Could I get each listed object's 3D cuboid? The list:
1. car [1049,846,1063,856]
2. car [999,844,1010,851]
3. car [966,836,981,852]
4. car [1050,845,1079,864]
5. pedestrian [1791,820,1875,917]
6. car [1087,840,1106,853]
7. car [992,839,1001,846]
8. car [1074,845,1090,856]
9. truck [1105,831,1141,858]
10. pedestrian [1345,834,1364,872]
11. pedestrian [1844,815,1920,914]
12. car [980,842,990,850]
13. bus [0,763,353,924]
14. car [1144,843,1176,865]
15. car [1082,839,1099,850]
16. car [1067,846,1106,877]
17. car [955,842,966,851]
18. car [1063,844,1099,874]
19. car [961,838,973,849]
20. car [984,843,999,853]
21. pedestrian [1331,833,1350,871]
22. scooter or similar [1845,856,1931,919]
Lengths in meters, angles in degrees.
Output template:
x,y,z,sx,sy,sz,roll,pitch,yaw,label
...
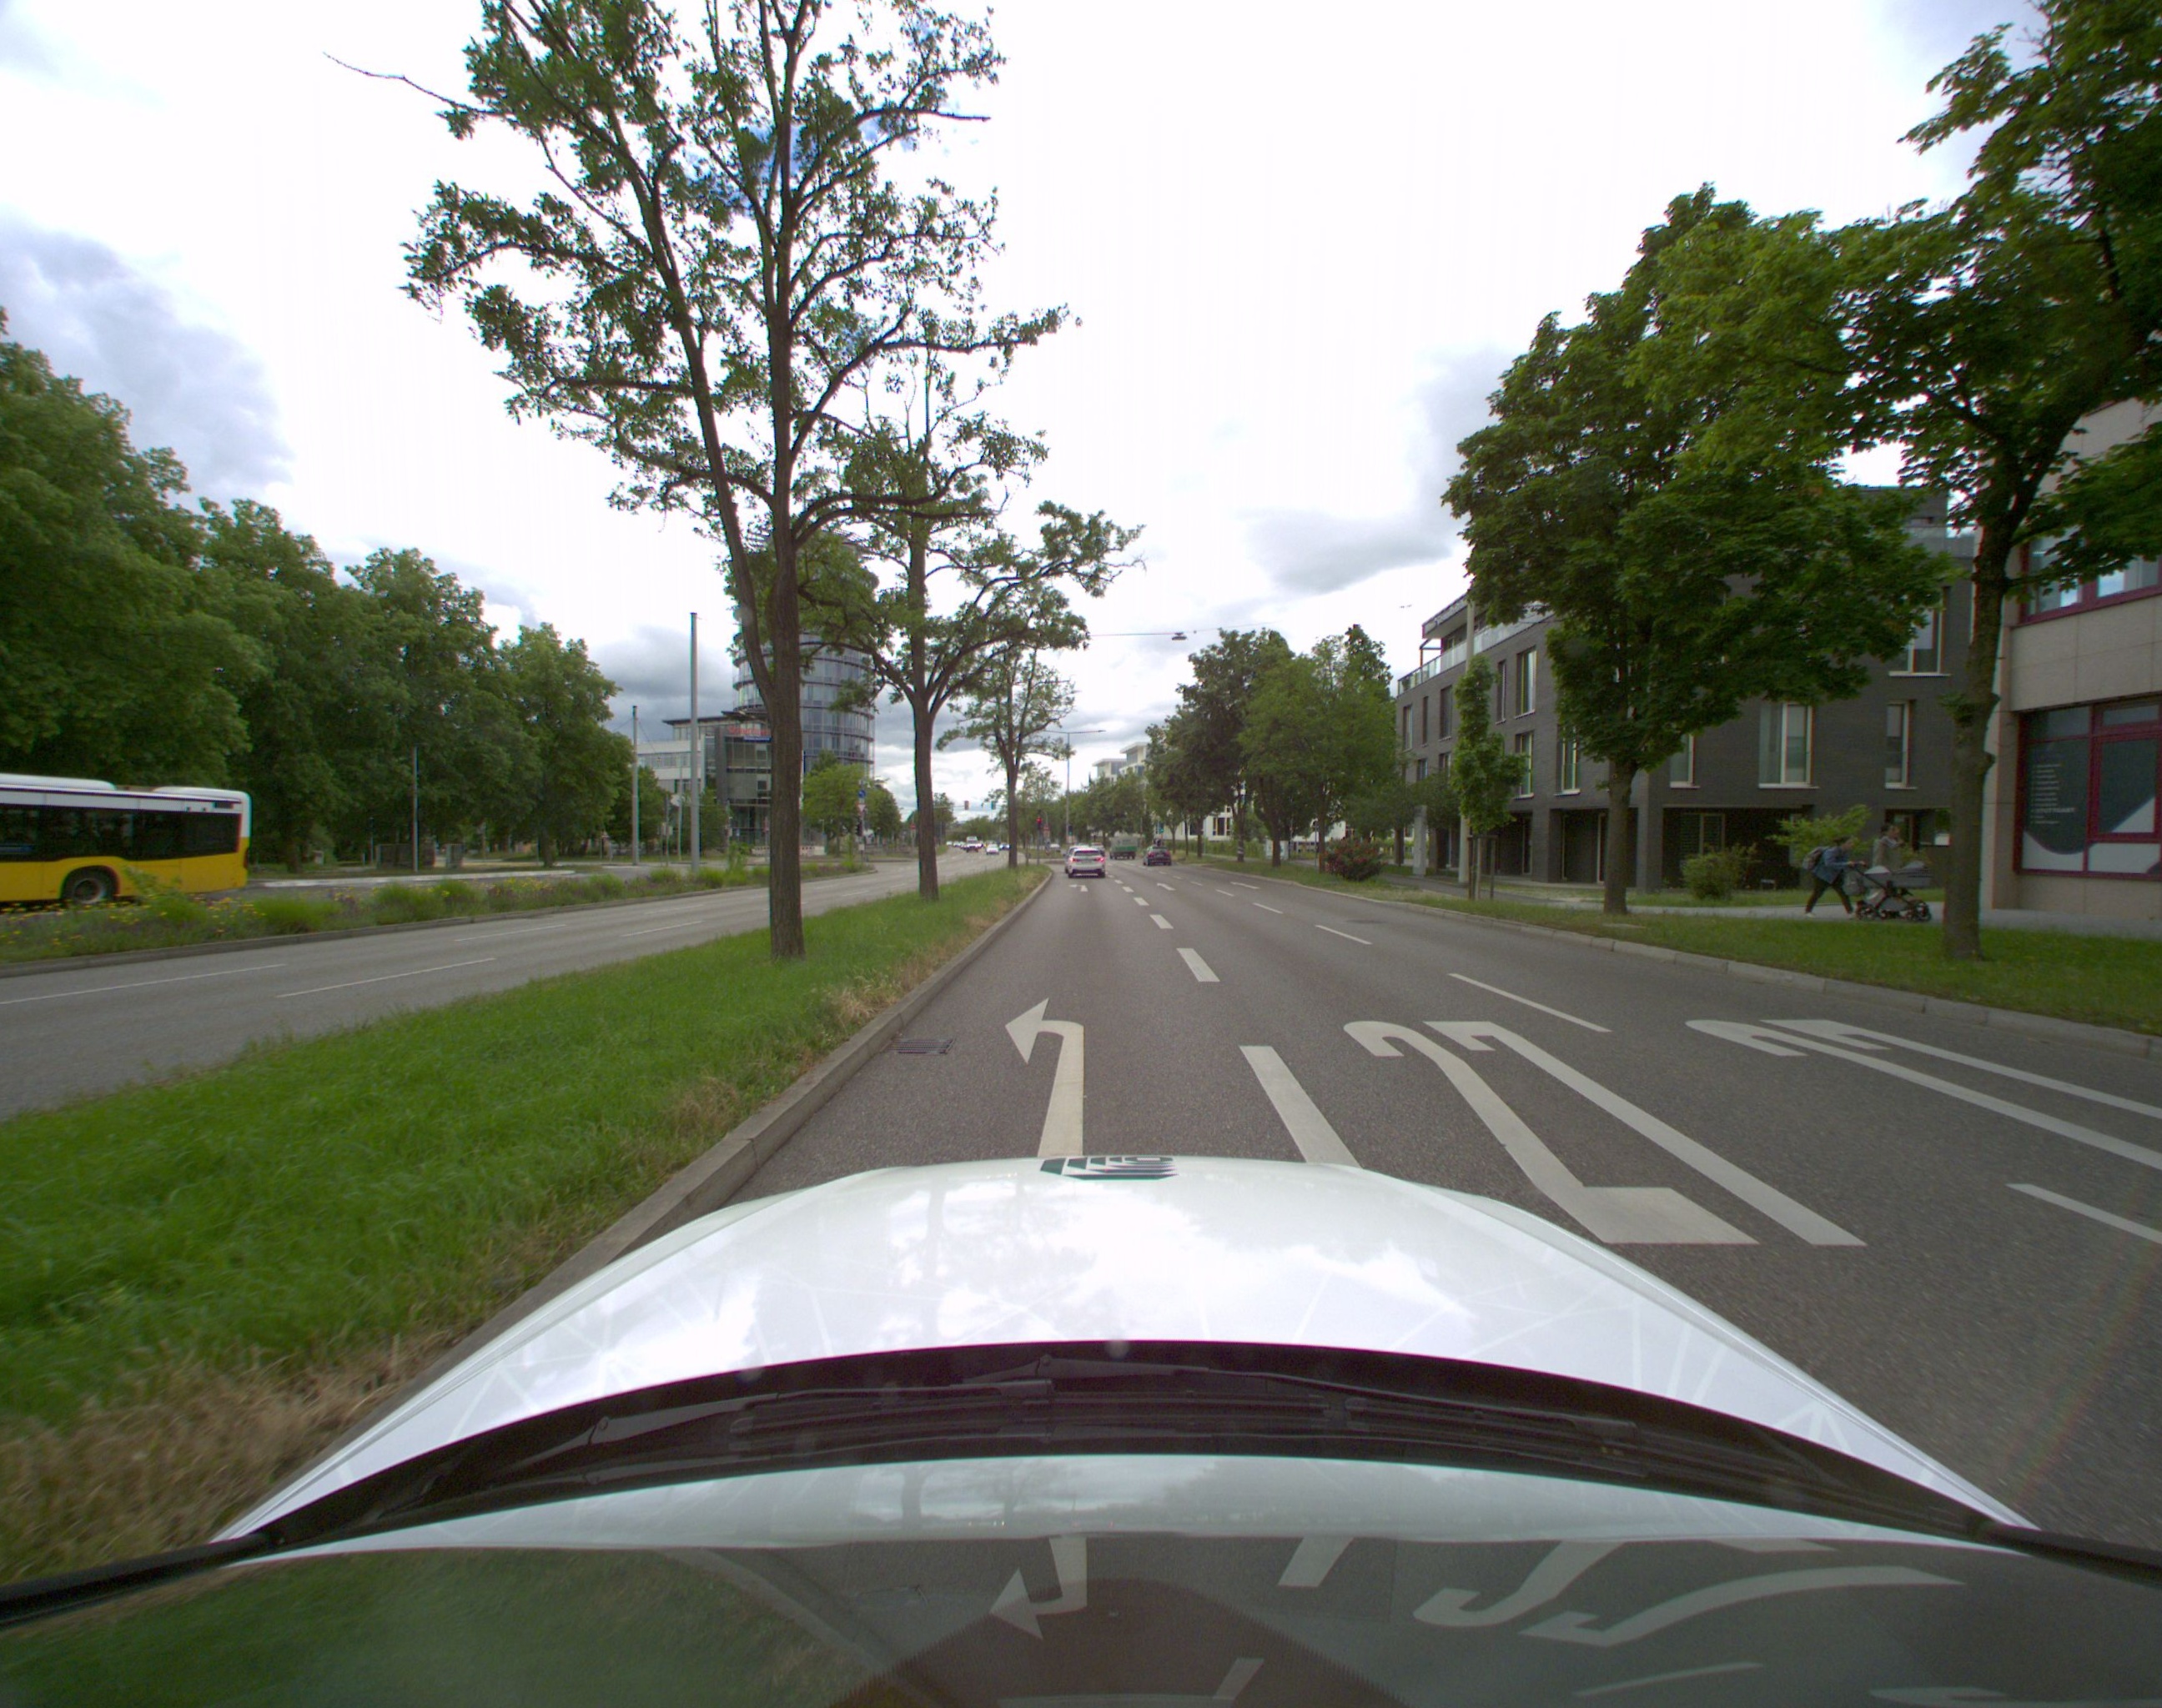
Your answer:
x,y,z,sx,sy,sz,roll,pitch,yaw,label
-3.755,-0.416,123.392,1.989,1.490,3.996,0,1,-3,car
-14.271,-1.212,152.527,1.748,1.371,3.778,-1,0,-1,car
-18.280,-1.674,138.349,1.989,2.634,5.868,2,0,-3,car
-1.330,0.045,68.435,1.984,1.508,4.006,0,0,5,car
13.349,0.250,14.477,0.554,1.652,0.960,-1,0,-4,pedestrian
1.918,-0.921,101.541,1.990,1.508,3.993,0,1,-5,car
-23.127,-3.166,223.812,1.987,1.618,3.999,2,0,-1,car
0.121,-0.545,117.413,1.989,1.490,3.996,0,1,-3,car
4.131,-0.885,80.625,2.854,2.519,6.278,0,0,-4,truck
13.060,-0.074,38.917,0.606,1.775,0.954,0,2,0,pedestrian
14.192,0.181,14.450,0.564,1.700,0.830,0,0,4,pedestrian
-22.746,-1.893,193.707,1.989,2.010,4.319,2,0,-3,car
-24.469,-0.285,20.367,3.017,3.455,9.923,2,1,4,bus
5.688,-0.026,59.278,1.987,1.596,4.000,0,0,0,car
1.249,-1.287,114.080,1.990,1.508,3.993,0,0,-5,car
0.330,0.351,40.699,1.856,1.449,4.002,0,0,2,car
-26.366,-1.704,178.065,1.989,1.852,4.319,2,0,-3,car
0.005,0.264,47.858,1.987,1.672,4.000,0,0,0,car
-22.532,-2.066,161.513,1.989,2.010,4.319,2,0,-3,car
-12.648,-0.848,115.162,1.749,1.444,4.130,2,1,-3,car
12.385,-0.106,38.887,0.606,1.775,0.954,0,2,0,pedestrian
13.428,0.537,13.573,0.582,0.993,0.845,-1,0,-4,scooter or similar
